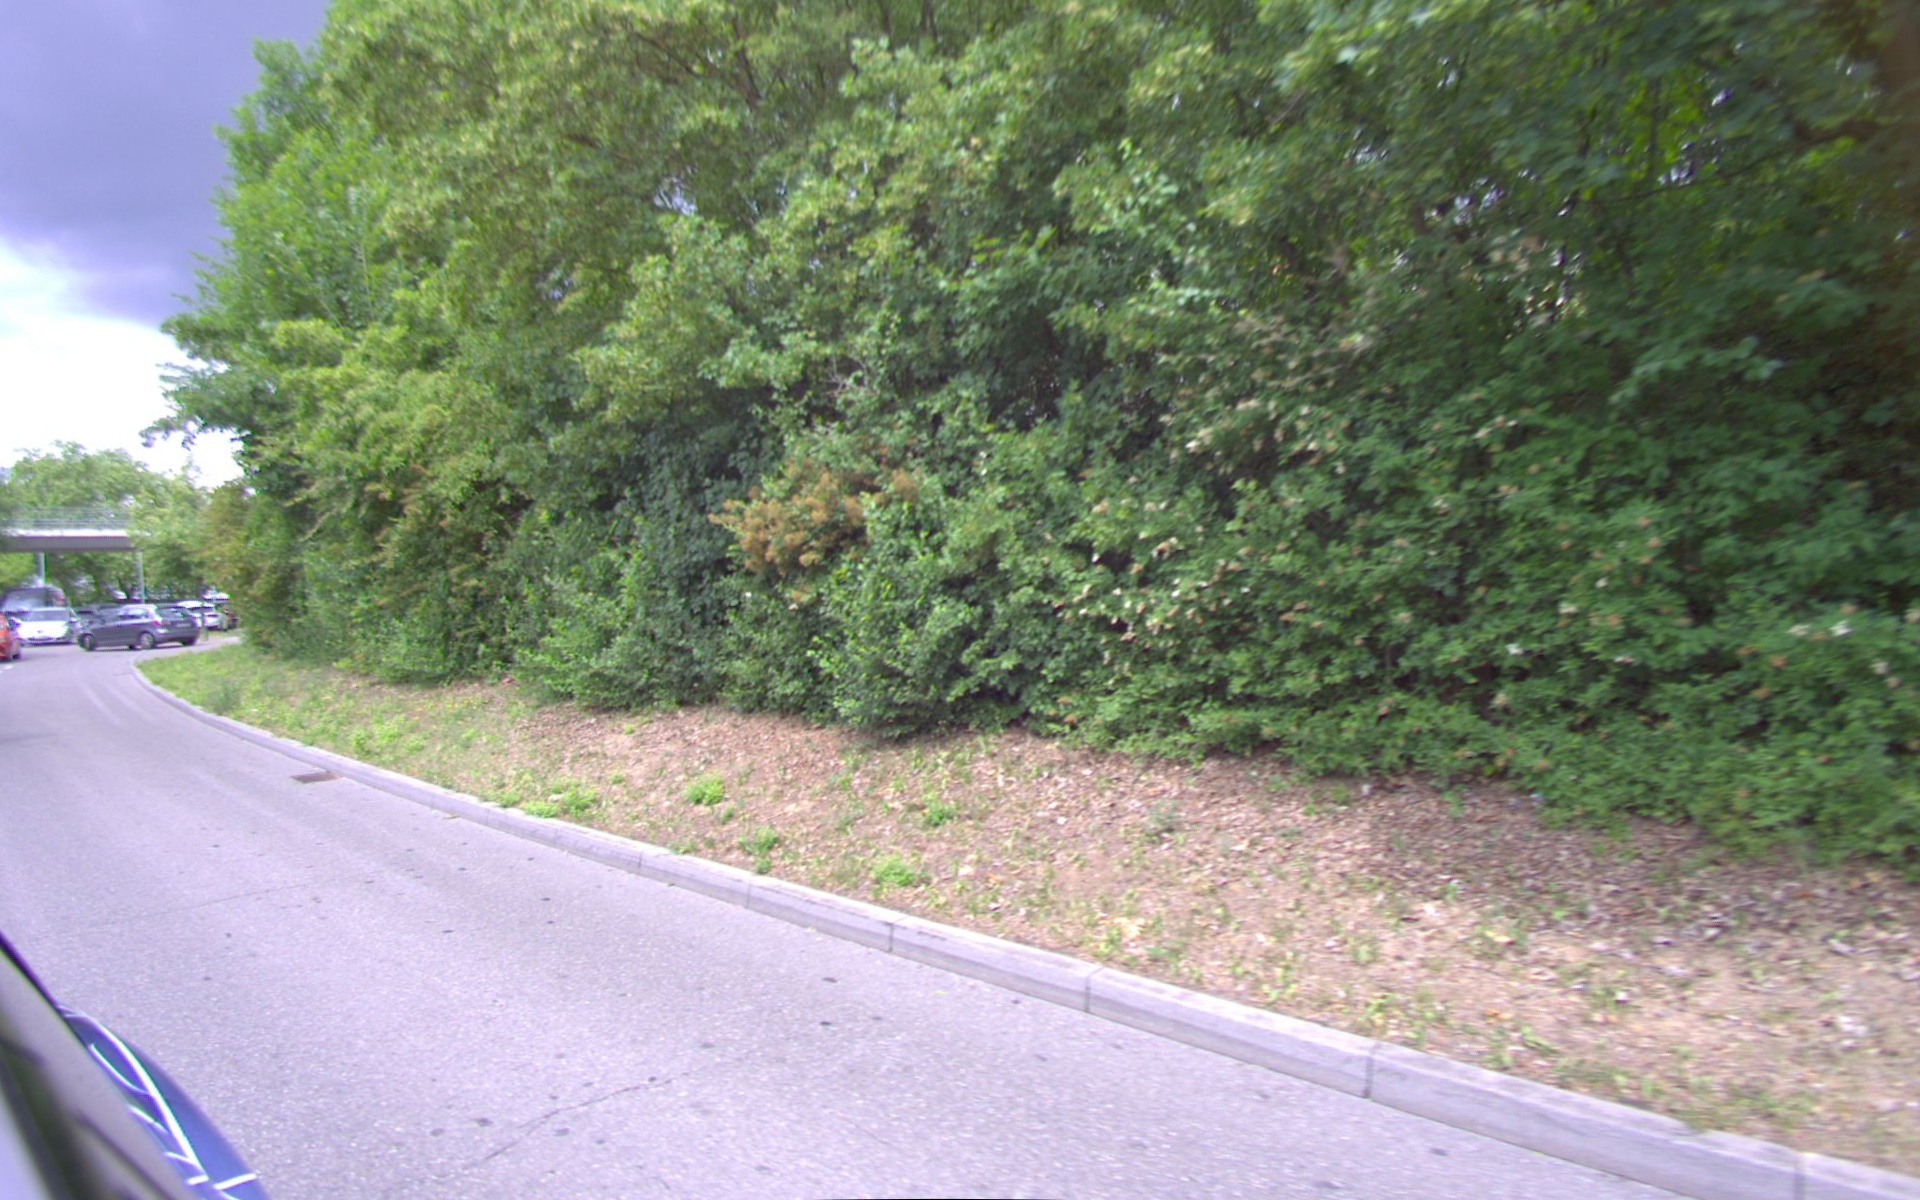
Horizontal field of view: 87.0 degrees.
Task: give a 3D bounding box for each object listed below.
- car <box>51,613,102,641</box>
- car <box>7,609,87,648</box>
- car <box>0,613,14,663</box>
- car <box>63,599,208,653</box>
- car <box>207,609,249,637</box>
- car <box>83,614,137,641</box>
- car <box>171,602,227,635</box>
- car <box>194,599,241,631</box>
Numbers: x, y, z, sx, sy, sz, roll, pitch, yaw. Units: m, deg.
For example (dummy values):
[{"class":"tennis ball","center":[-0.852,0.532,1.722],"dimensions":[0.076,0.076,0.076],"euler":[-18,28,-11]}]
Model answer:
[{"class":"car","center":[-51.919,1.585,59.522],"dimensions":[1.579,1.498,3.733],"euler":[-2,1,-31]},{"class":"car","center":[-38.415,1.157,42.682],"dimensions":[1.751,1.463,4.012],"euler":[-2,1,-31]},{"class":"car","center":[-29.942,1.157,30.477],"dimensions":[4.000,1.453,1.837],"euler":[-1,1,43]},{"class":"car","center":[-29.771,0.958,36.594],"dimensions":[4.070,1.674,1.754],"euler":[-3,-2,7]},{"class":"car","center":[-44.266,1.364,61.262],"dimensions":[1.784,1.491,4.499],"euler":[-4,2,-33]},{"class":"car","center":[-46.412,1.503,55.313],"dimensions":[1.752,1.431,4.011],"euler":[1,-2,-33]},{"class":"car","center":[-36.535,0.858,48.686],"dimensions":[1.783,1.415,4.060],"euler":[-2,1,-32]},{"class":"car","center":[-41.064,0.828,56.029],"dimensions":[1.784,1.596,3.996],"euler":[-4,2,-33]}]
